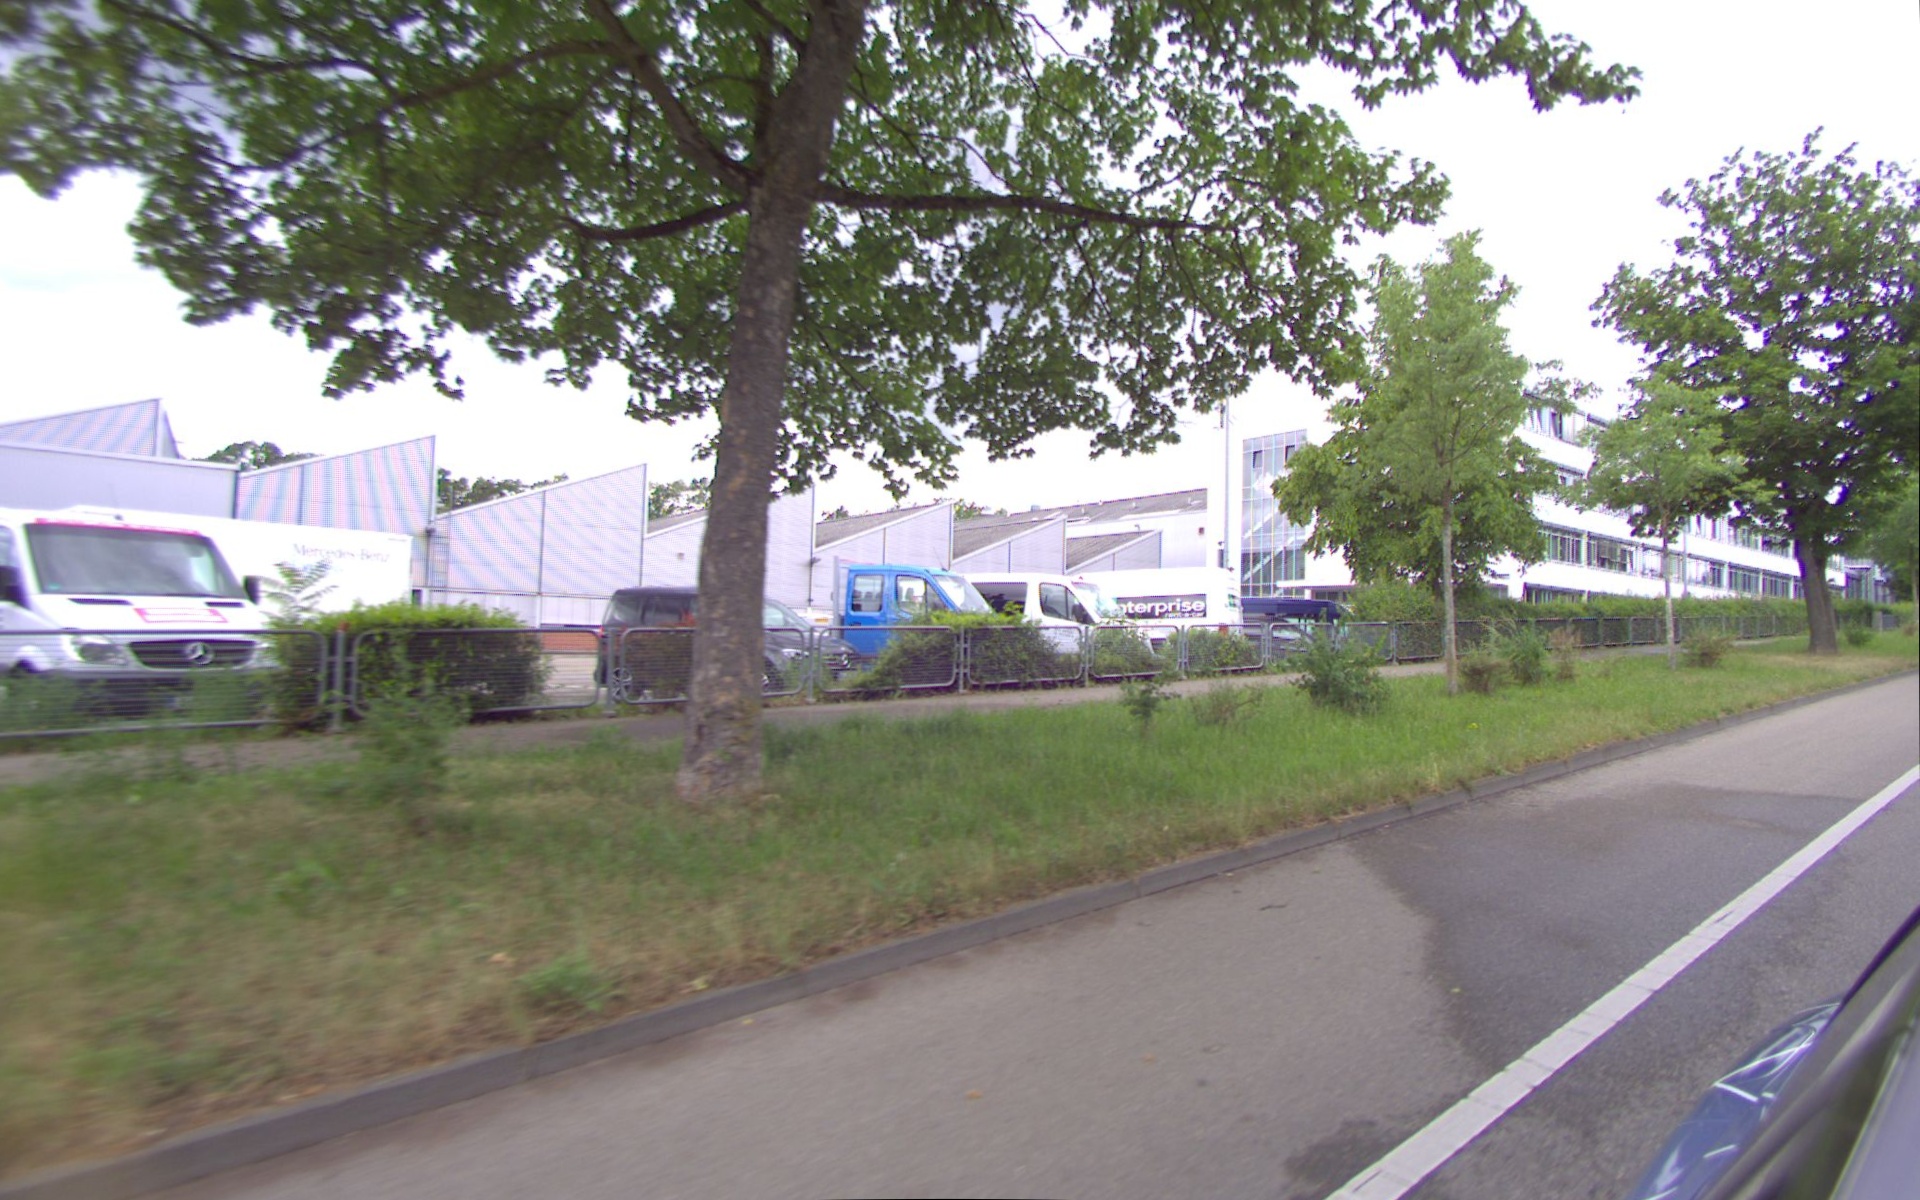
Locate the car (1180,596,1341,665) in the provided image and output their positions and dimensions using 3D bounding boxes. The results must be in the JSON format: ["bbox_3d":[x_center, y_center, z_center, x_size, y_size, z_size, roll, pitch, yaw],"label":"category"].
[{"bbox_3d":[8.667,0.843,29.181,4.303,1.867,1.909,-1,-1,22],"label":"car"}]

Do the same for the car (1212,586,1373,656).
[{"bbox_3d":[10.269,0.653,31.619,4.505,2.060,2.064,-1,-1,12],"label":"car"}]

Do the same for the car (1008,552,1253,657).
[{"bbox_3d":[3.907,0.117,23.358,5.209,2.216,2.053,-1,-1,27],"label":"car"}]

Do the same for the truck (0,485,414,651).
[{"bbox_3d":[-19.104,-0.680,25.182,2.848,3.503,9.407,-1,-1,39],"label":"truck"}]

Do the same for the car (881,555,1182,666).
[{"bbox_3d":[1.359,0.216,20.434,5.776,1.981,2.050,-1,-1,30],"label":"car"}]

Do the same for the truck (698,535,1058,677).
[{"bbox_3d":[-1.528,0.122,18.273,6.184,2.240,2.229,-1,-1,24],"label":"truck"}]

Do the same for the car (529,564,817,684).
[{"bbox_3d":[-4.423,0.352,15.622,3.955,1.650,1.984,-1,0,24],"label":"car"}]

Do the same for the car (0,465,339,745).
[{"bbox_3d":[-9.765,0.069,11.129,5.973,2.397,2.339,-1,-1,28],"label":"car"}]
